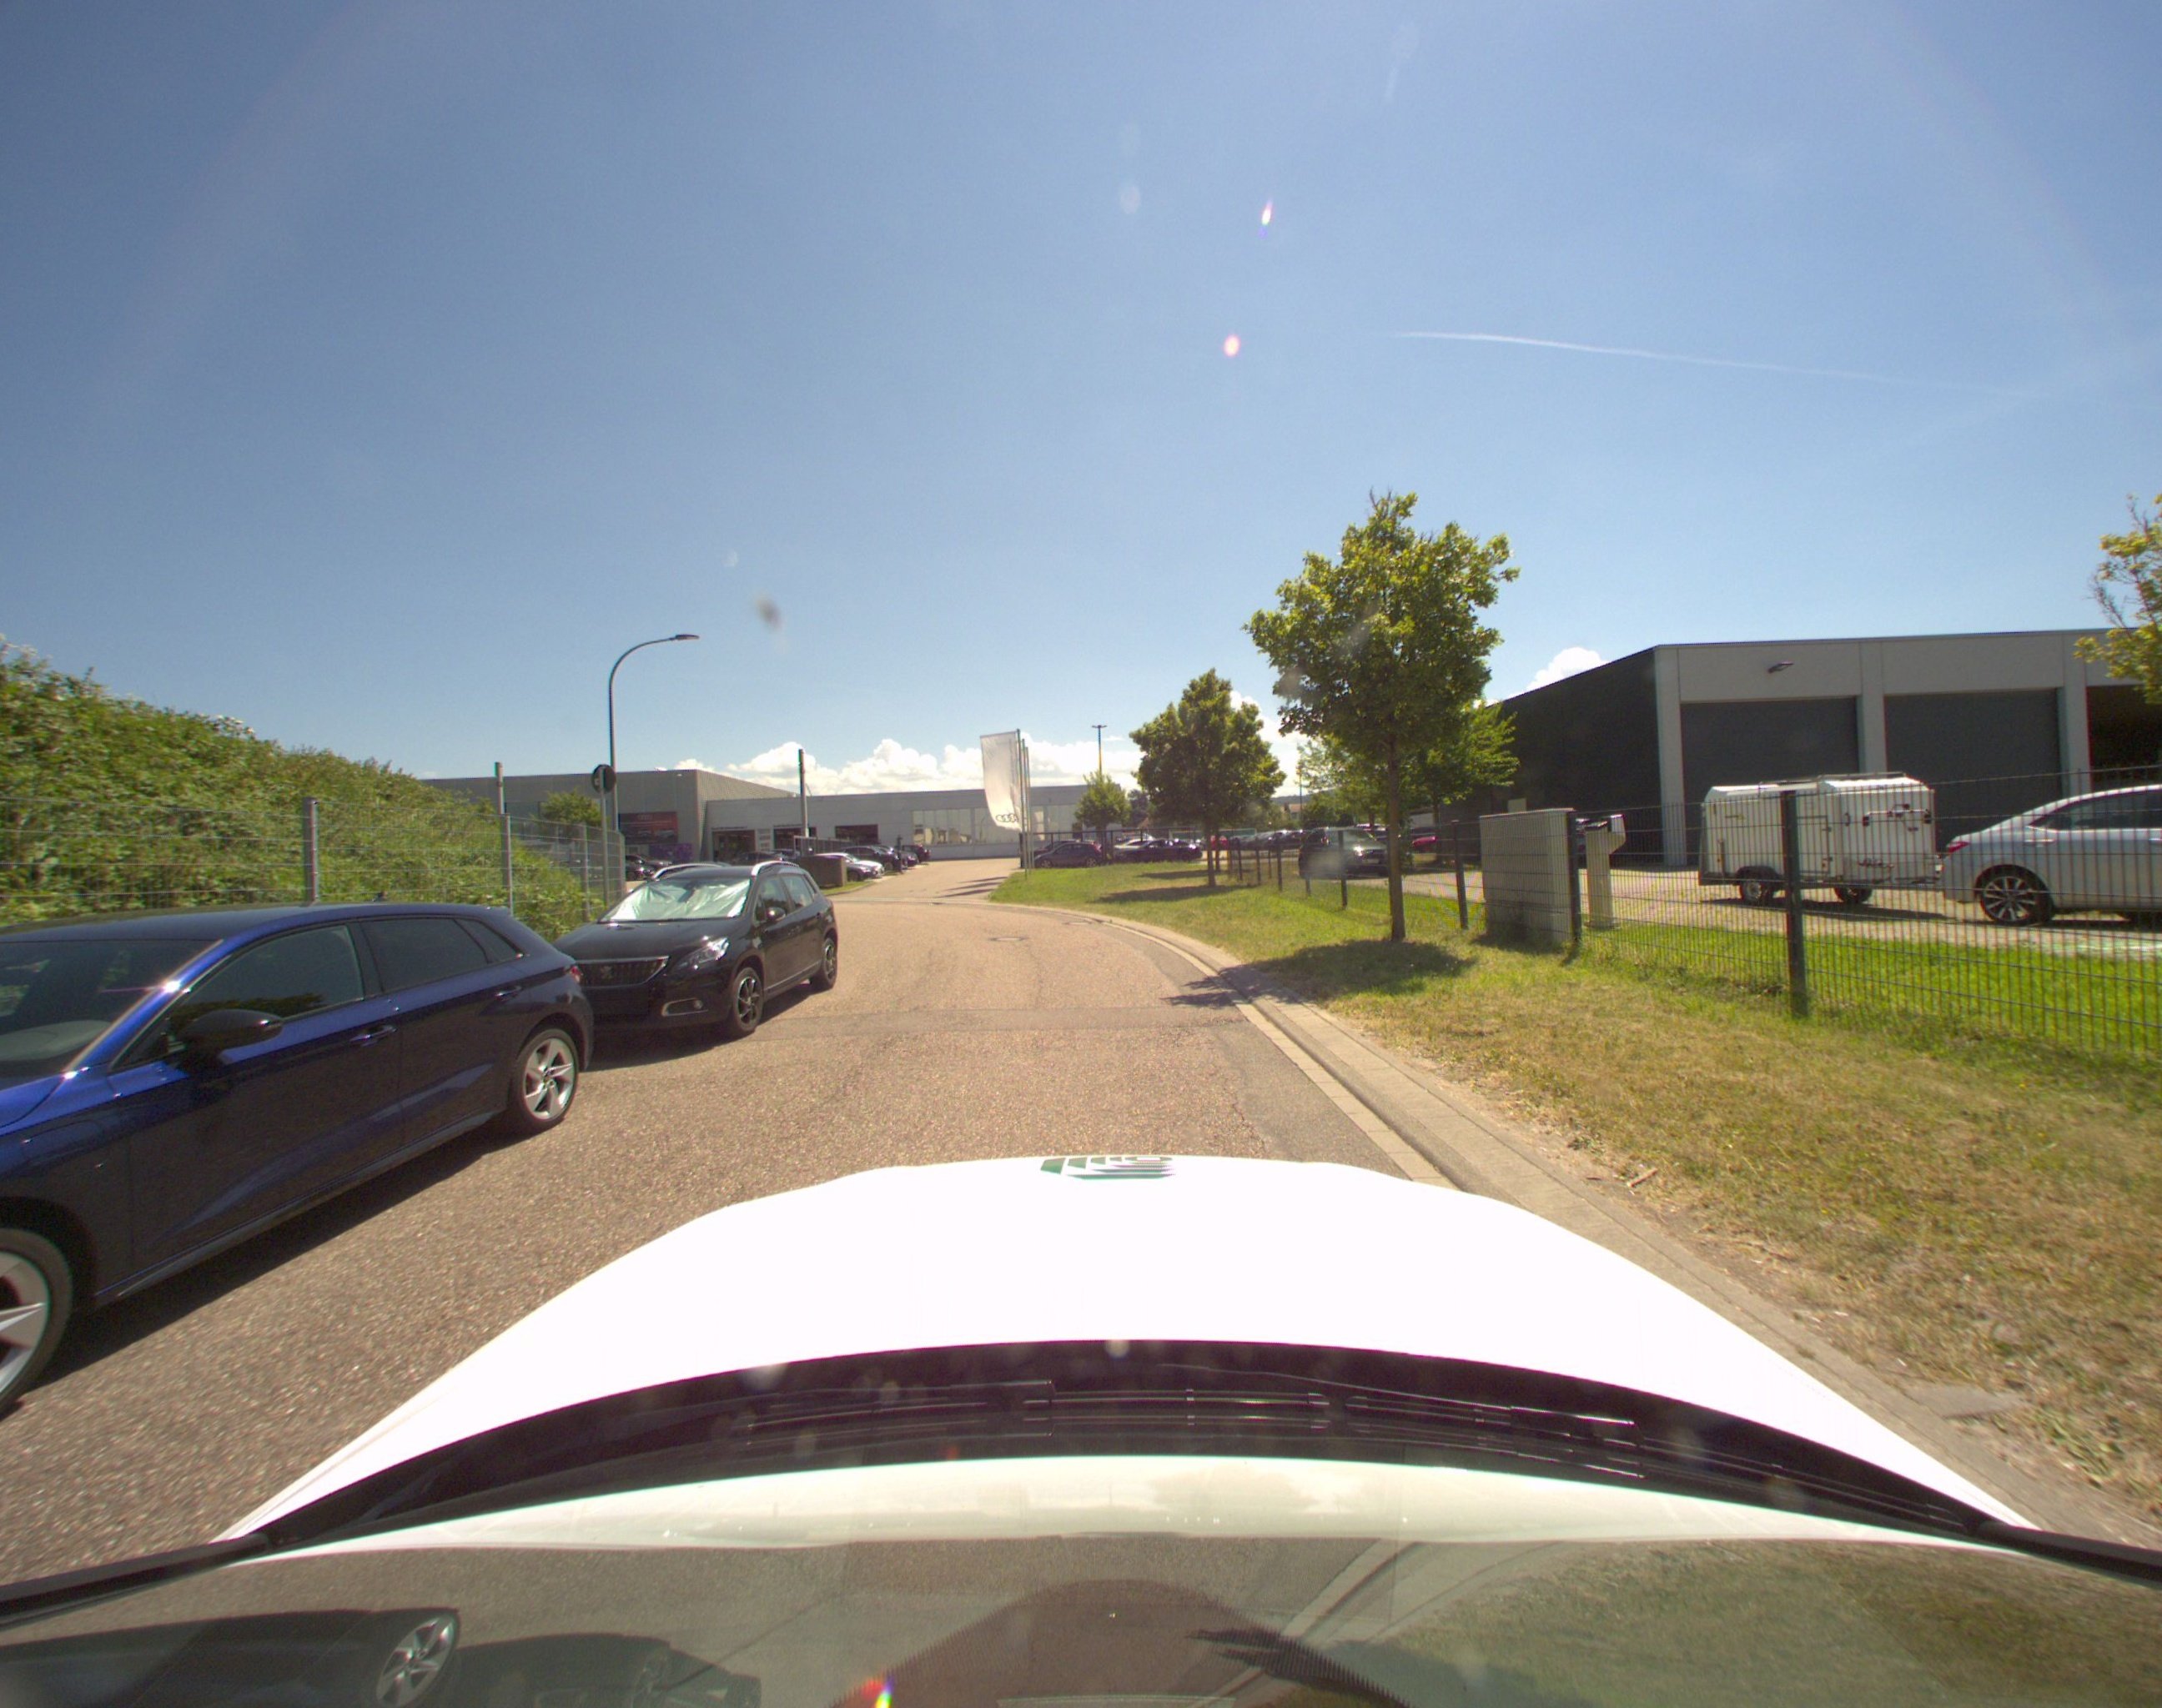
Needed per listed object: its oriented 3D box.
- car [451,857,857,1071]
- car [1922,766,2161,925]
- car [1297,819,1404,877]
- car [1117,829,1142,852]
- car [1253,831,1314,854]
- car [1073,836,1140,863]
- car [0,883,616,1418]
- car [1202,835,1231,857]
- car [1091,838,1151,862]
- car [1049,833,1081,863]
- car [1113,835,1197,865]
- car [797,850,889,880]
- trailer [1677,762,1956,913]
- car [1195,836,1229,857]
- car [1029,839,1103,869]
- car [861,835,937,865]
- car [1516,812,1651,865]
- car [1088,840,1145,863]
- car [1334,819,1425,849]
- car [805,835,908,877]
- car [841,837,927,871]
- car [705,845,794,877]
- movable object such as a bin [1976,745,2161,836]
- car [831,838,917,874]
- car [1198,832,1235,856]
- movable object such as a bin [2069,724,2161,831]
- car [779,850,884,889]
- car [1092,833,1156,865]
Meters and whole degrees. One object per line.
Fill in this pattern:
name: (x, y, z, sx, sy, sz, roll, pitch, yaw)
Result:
car: (-3.857, 0.848, 8.374, 1.828, 1.546, 4.264, -3, 0, 0)
car: (11.345, -0.134, 7.744, 1.876, 1.523, 4.463, -3, -3, -3)
car: (7.980, -0.182, 24.507, 1.732, 1.522, 3.892, -3, 0, -3)
car: (4.403, -1.222, 75.103, 1.987, 1.827, 3.999, -3, -2, 0)
car: (14.891, -0.848, 60.068, 3.976, 1.398, 1.998, -3, -2, -2)
car: (1.559, -0.238, 50.342, 3.976, 1.398, 1.998, -3, -2, -2)
car: (-3.950, 0.940, 3.399, 1.652, 1.417, 4.142, -3, 0, -2)
car: (12.882, -0.745, 77.483, 1.987, 1.827, 3.999, -3, -2, 0)
car: (2.769, -0.236, 56.603, 3.976, 1.398, 1.998, -3, -2, -2)
car: (-1.109, -0.380, 55.487, 1.988, 1.827, 3.996, -3, -2, -2)
car: (4.093, -0.191, 45.508, 4.426, 1.398, 1.998, -3, -2, -2)
car: (-12.947, 0.618, 44.484, 4.426, 1.398, 1.998, -3, -2, -2)
trailer: (11.337, -0.298, 12.857, 1.487, 2.006, 3.266, -3, 2, 2)
car: (9.931, -0.541, 61.998, 1.986, 1.398, 4.000, -3, -2, 1)
car: (-0.860, 0.011, 45.437, 3.976, 1.398, 1.998, -3, -2, -2)
car: (-12.970, -0.286, 58.303, 4.869, 1.922, 1.999, -3, 0, -1)
car: (15.213, -0.453, 24.903, 1.731, 1.407, 3.694, -3, 1, -2)
car: (2.548, -0.194, 59.199, 3.976, 1.398, 1.998, -3, -2, -2)
car: (17.109, -1.122, 46.847, 4.426, 1.398, 1.998, -3, -2, -2)
car: (-12.921, 0.115, 47.172, 5.302, 2.097, 1.999, -3, 0, -1)
car: (-12.520, -0.018, 51.934, 4.869, 1.922, 1.999, -3, 0, -1)
car: (-19.752, 0.433, 48.634, 4.426, 1.626, 1.998, -3, -2, -2)
movable object such as a bin: (38.057, -2.277, 29.316, 3.531, 2.994, 7.315, -3, 0, -1)
car: (-12.522, 0.133, 49.482, 4.573, 1.922, 1.999, -3, 0, -1)
car: (9.563, -0.669, 57.633, 1.986, 1.398, 4.000, -3, -2, 1)
movable object such as a bin: (42.855, -3.025, 29.453, 3.531, 3.974, 8.662, -3, 0, -1)
car: (-12.052, 0.782, 39.498, 4.426, 1.626, 1.998, -3, -2, -2)
car: (2.769, -0.307, 53.554, 3.976, 1.827, 1.998, -3, -2, -2)
